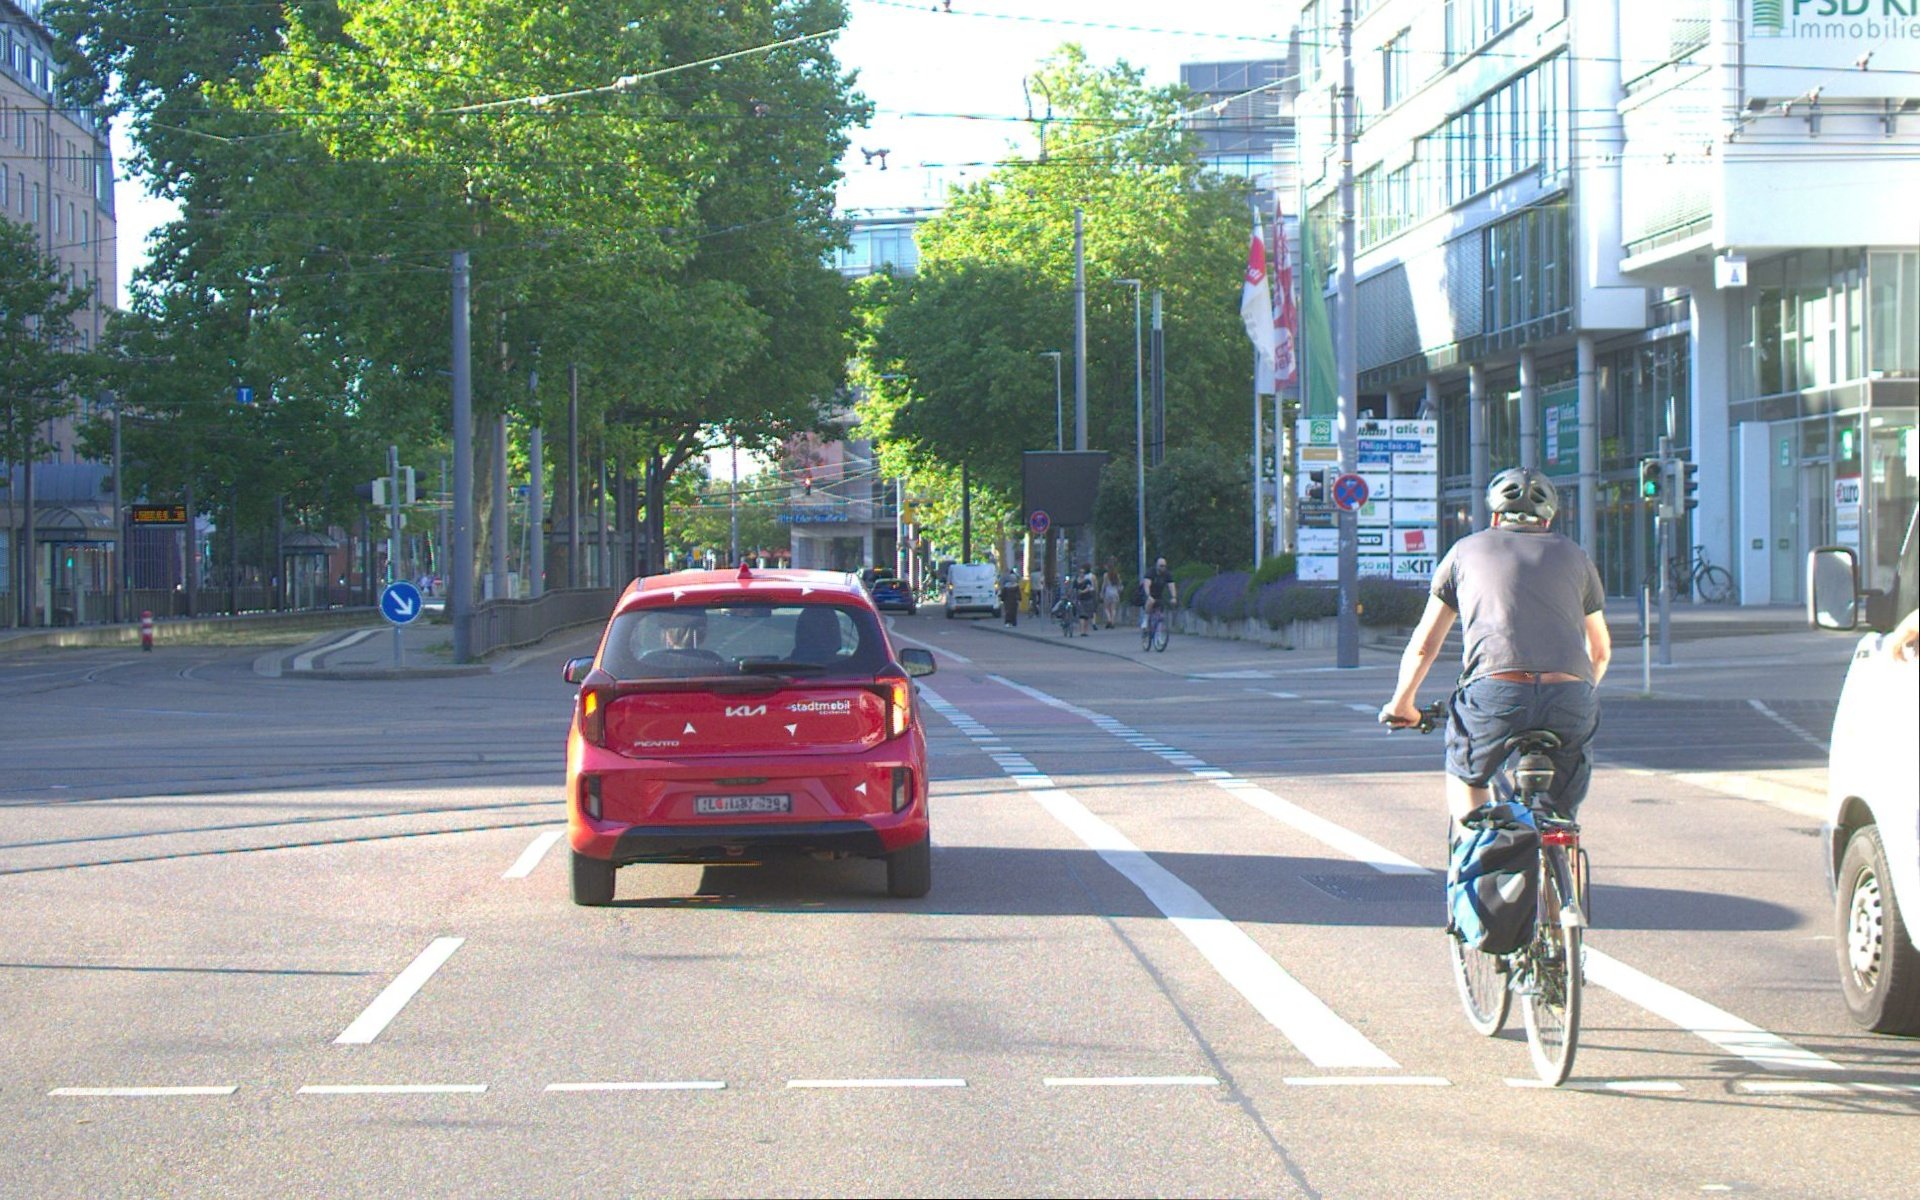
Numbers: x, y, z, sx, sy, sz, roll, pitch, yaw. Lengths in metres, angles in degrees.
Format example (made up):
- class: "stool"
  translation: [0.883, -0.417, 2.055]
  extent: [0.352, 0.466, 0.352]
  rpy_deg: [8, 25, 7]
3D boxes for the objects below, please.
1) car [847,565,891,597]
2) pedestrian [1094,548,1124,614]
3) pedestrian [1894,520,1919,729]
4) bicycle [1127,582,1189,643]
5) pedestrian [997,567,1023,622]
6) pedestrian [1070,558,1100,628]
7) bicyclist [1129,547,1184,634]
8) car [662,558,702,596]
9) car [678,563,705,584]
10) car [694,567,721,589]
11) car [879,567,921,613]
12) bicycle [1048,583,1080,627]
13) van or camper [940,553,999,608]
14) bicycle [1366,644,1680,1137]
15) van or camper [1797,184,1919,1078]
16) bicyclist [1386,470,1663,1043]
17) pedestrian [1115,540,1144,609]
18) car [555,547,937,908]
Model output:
- class: "car"
  translation: [-4.504, -0.933, 169.819]
  extent: [1.777, 1.529, 3.513]
  rpy_deg: [0, 1, -8]
- class: "pedestrian"
  translation: [3.944, -0.494, 90.859]
  extent: [0.564, 1.696, 0.907]
  rpy_deg: [-4, 1, -5]
- class: "pedestrian"
  translation: [8.757, 0.206, 30.215]
  extent: [0.777, 1.817, 1.216]
  rpy_deg: [-1, 1, 1]
- class: "bicycle"
  translation: [3.769, 0.232, 65.525]
  extent: [0.696, 1.094, 1.751]
  rpy_deg: [-4, 1, -10]
- class: "pedestrian"
  translation: [1.468, -0.161, 100.810]
  extent: [0.642, 1.574, 0.723]
  rpy_deg: [-4, 1, 1]
- class: "pedestrian"
  translation: [3.017, -0.177, 82.956]
  extent: [0.646, 1.674, 0.651]
  rpy_deg: [-1, 1, -4]
- class: "bicyclist"
  translation: [3.739, -0.187, 65.487]
  extent: [0.721, 1.597, 1.089]
  rpy_deg: [-3, 1, -11]
- class: "car"
  translation: [-14.927, -1.250, 184.447]
  extent: [1.993, 2.007, 4.001]
  rpy_deg: [-1, 1, -6]
- class: "car"
  translation: [-20.096, -2.013, 257.451]
  extent: [1.777, 1.529, 3.412]
  rpy_deg: [0, 1, -8]
- class: "car"
  translation: [-18.421, -1.620, 250.934]
  extent: [1.777, 1.529, 3.412]
  rpy_deg: [0, 1, -8]
- class: "car"
  translation: [-2.432, -0.405, 138.738]
  extent: [1.635, 1.794, 3.330]
  rpy_deg: [-1, 1, -1]
- class: "bicycle"
  translation: [2.510, 0.113, 83.018]
  extent: [0.520, 0.971, 2.202]
  rpy_deg: [-4, 1, -3]
- class: "van or camper"
  translation: [0.328, -0.737, 126.620]
  extent: [1.993, 1.982, 4.745]
  rpy_deg: [0, 0, -2]
- class: "bicycle"
  translation: [1.637, 0.798, 10.265]
  extent: [0.650, 1.276, 1.966]
  rpy_deg: [-1, 1, 1]
- class: "van or camper"
  translation: [3.937, 0.121, 8.605]
  extent: [1.968, 2.707, 6.305]
  rpy_deg: [0, 1, -2]
- class: "bicyclist"
  translation: [1.646, 0.432, 10.155]
  extent: [0.650, 1.597, 1.089]
  rpy_deg: [-1, 1, 1]
- class: "pedestrian"
  translation: [4.527, -0.688, 91.700]
  extent: [0.540, 1.790, 0.907]
  rpy_deg: [-4, 1, -5]
- class: "car"
  translation: [-0.998, 0.523, 16.305]
  extent: [1.613, 1.529, 3.412]
  rpy_deg: [0, 1, -3]
